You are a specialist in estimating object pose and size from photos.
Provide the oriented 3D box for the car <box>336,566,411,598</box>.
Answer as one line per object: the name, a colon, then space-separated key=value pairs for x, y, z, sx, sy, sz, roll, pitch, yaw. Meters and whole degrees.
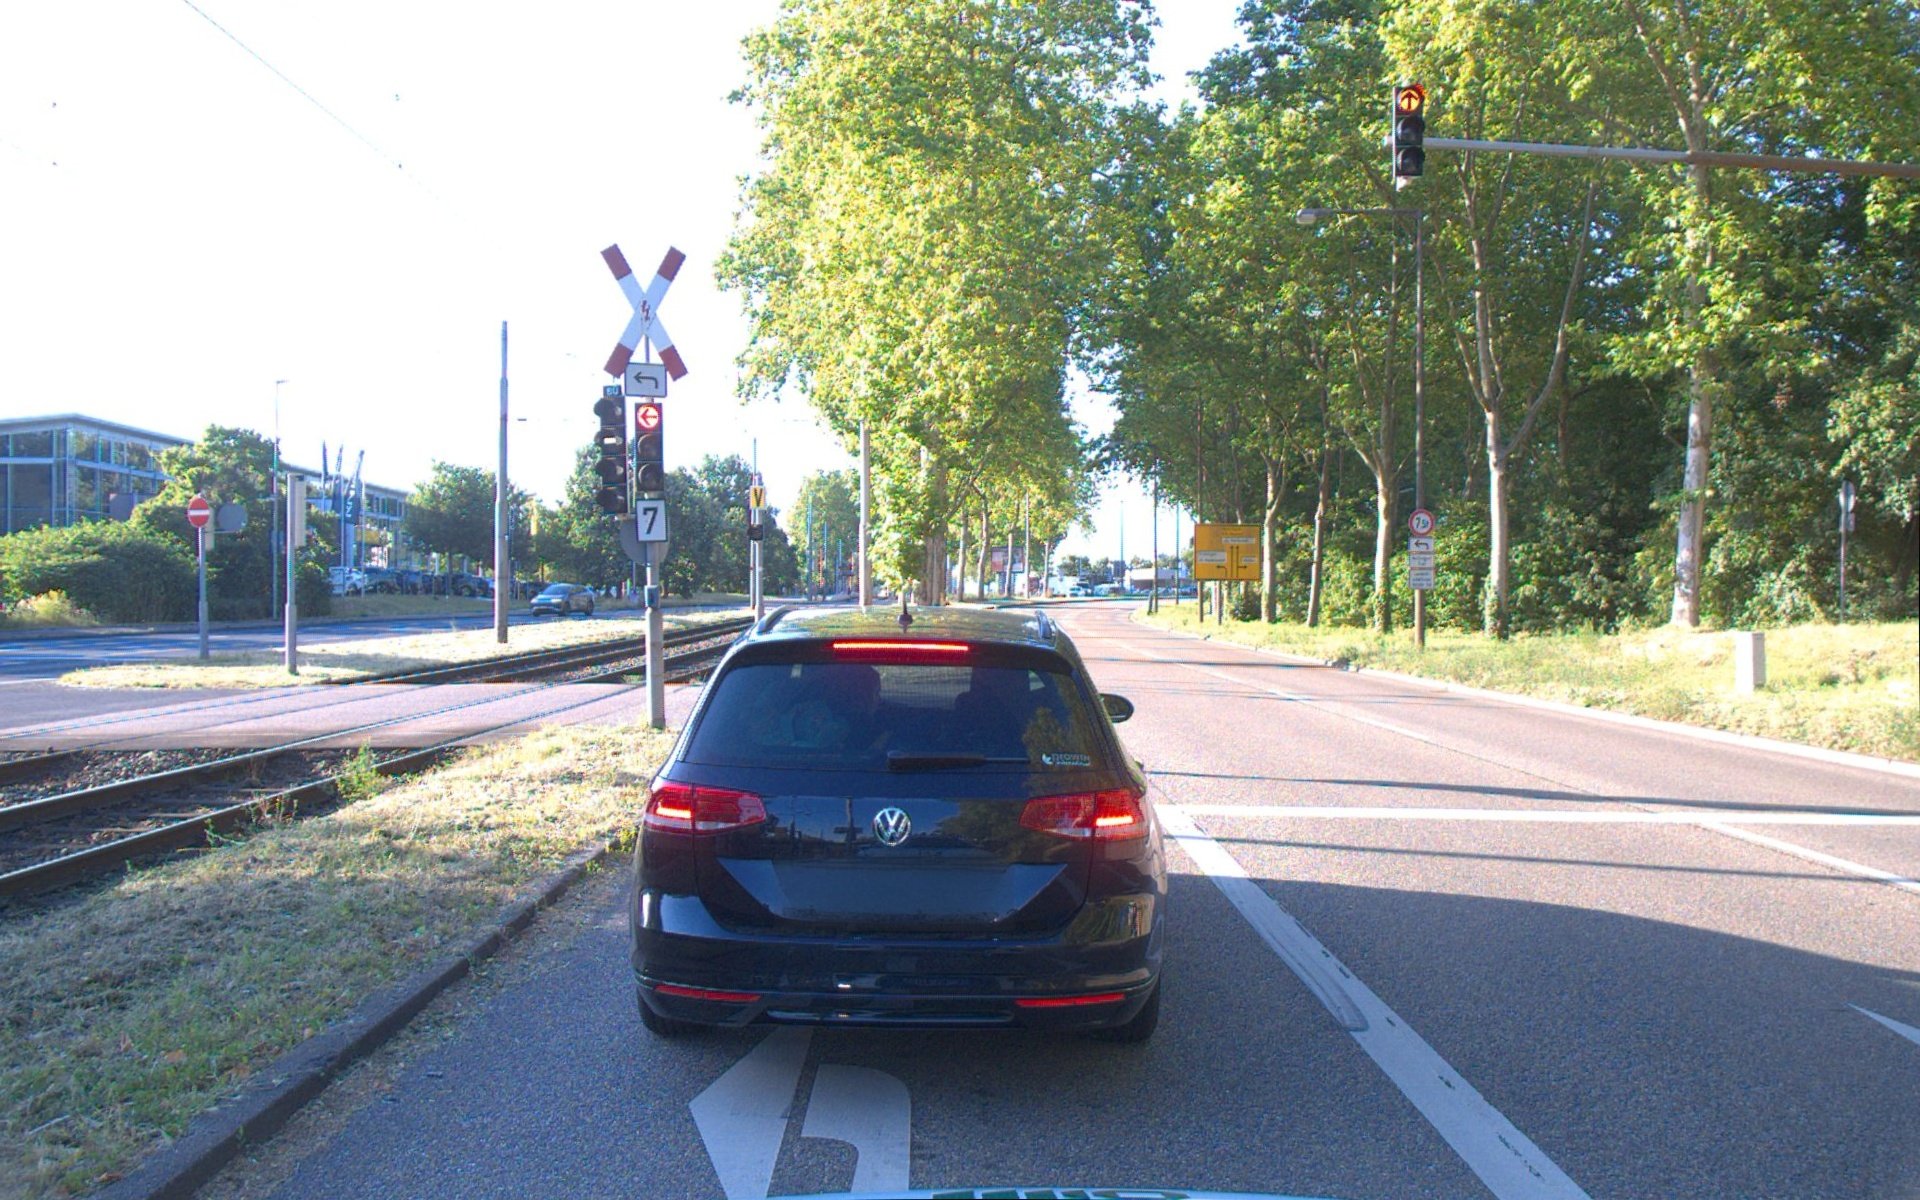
car: x=-32.900 y=-0.981 z=92.739 sx=3.930 sy=1.734 sz=1.732 roll=1 pitch=0 yaw=-22

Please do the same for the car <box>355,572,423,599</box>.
car: x=-35.190 y=-0.910 z=101.956 sx=3.930 sy=1.583 sz=1.732 roll=1 pitch=0 yaw=-22

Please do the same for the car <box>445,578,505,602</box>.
car: x=-35.557 y=-0.735 z=121.279 sx=3.909 sy=1.649 sz=1.742 roll=1 pitch=0 yaw=-6

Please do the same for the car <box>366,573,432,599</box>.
car: x=-35.531 y=-0.883 z=104.735 sx=3.930 sy=1.583 sz=1.732 roll=1 pitch=0 yaw=-22

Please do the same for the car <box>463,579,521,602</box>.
car: x=-35.226 y=-0.693 z=124.495 sx=3.909 sy=1.649 sz=1.742 roll=1 pitch=0 yaw=-6

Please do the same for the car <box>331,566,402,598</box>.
car: x=-35.537 y=-1.083 z=99.041 sx=3.930 sy=1.848 sz=1.732 roll=1 pitch=0 yaw=-22

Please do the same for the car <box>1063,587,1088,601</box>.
car: x=13.238 y=-0.654 z=189.017 sx=1.823 sy=1.507 sz=4.093 roll=1 pitch=1 yaw=19

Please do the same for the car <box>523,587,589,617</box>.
car: x=-21.532 y=0.097 z=88.343 sx=1.822 sy=1.507 sz=4.175 roll=1 pitch=1 yaw=11

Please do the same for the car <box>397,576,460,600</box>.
car: x=-35.695 y=-0.815 z=111.130 sx=3.930 sy=1.583 sz=1.732 roll=1 pitch=0 yaw=-22

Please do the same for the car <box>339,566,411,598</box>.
car: x=-34.431 y=-1.052 z=97.304 sx=3.930 sy=1.848 sz=1.732 roll=1 pitch=0 yaw=-22

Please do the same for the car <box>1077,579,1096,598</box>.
car: x=16.871 y=-1.505 z=220.925 sx=2.052 sy=2.504 sz=5.853 roll=1 pitch=1 yaw=0

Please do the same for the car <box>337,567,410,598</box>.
car: x=-33.682 y=-0.990 z=94.978 sx=3.930 sy=1.734 sz=1.732 roll=1 pitch=0 yaw=-22

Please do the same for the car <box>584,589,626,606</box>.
car: x=-35.946 y=-0.251 z=167.459 sx=3.909 sy=1.583 sz=1.742 roll=1 pitch=0 yaw=-5

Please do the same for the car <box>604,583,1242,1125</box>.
car: x=-0.136 y=0.708 z=6.411 sx=1.758 sy=1.490 sz=3.582 roll=1 pitch=0 yaw=-1

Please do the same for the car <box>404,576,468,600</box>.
car: x=-36.026 y=-0.793 z=113.824 sx=3.913 sy=1.583 sz=1.740 roll=1 pitch=0 yaw=-9
